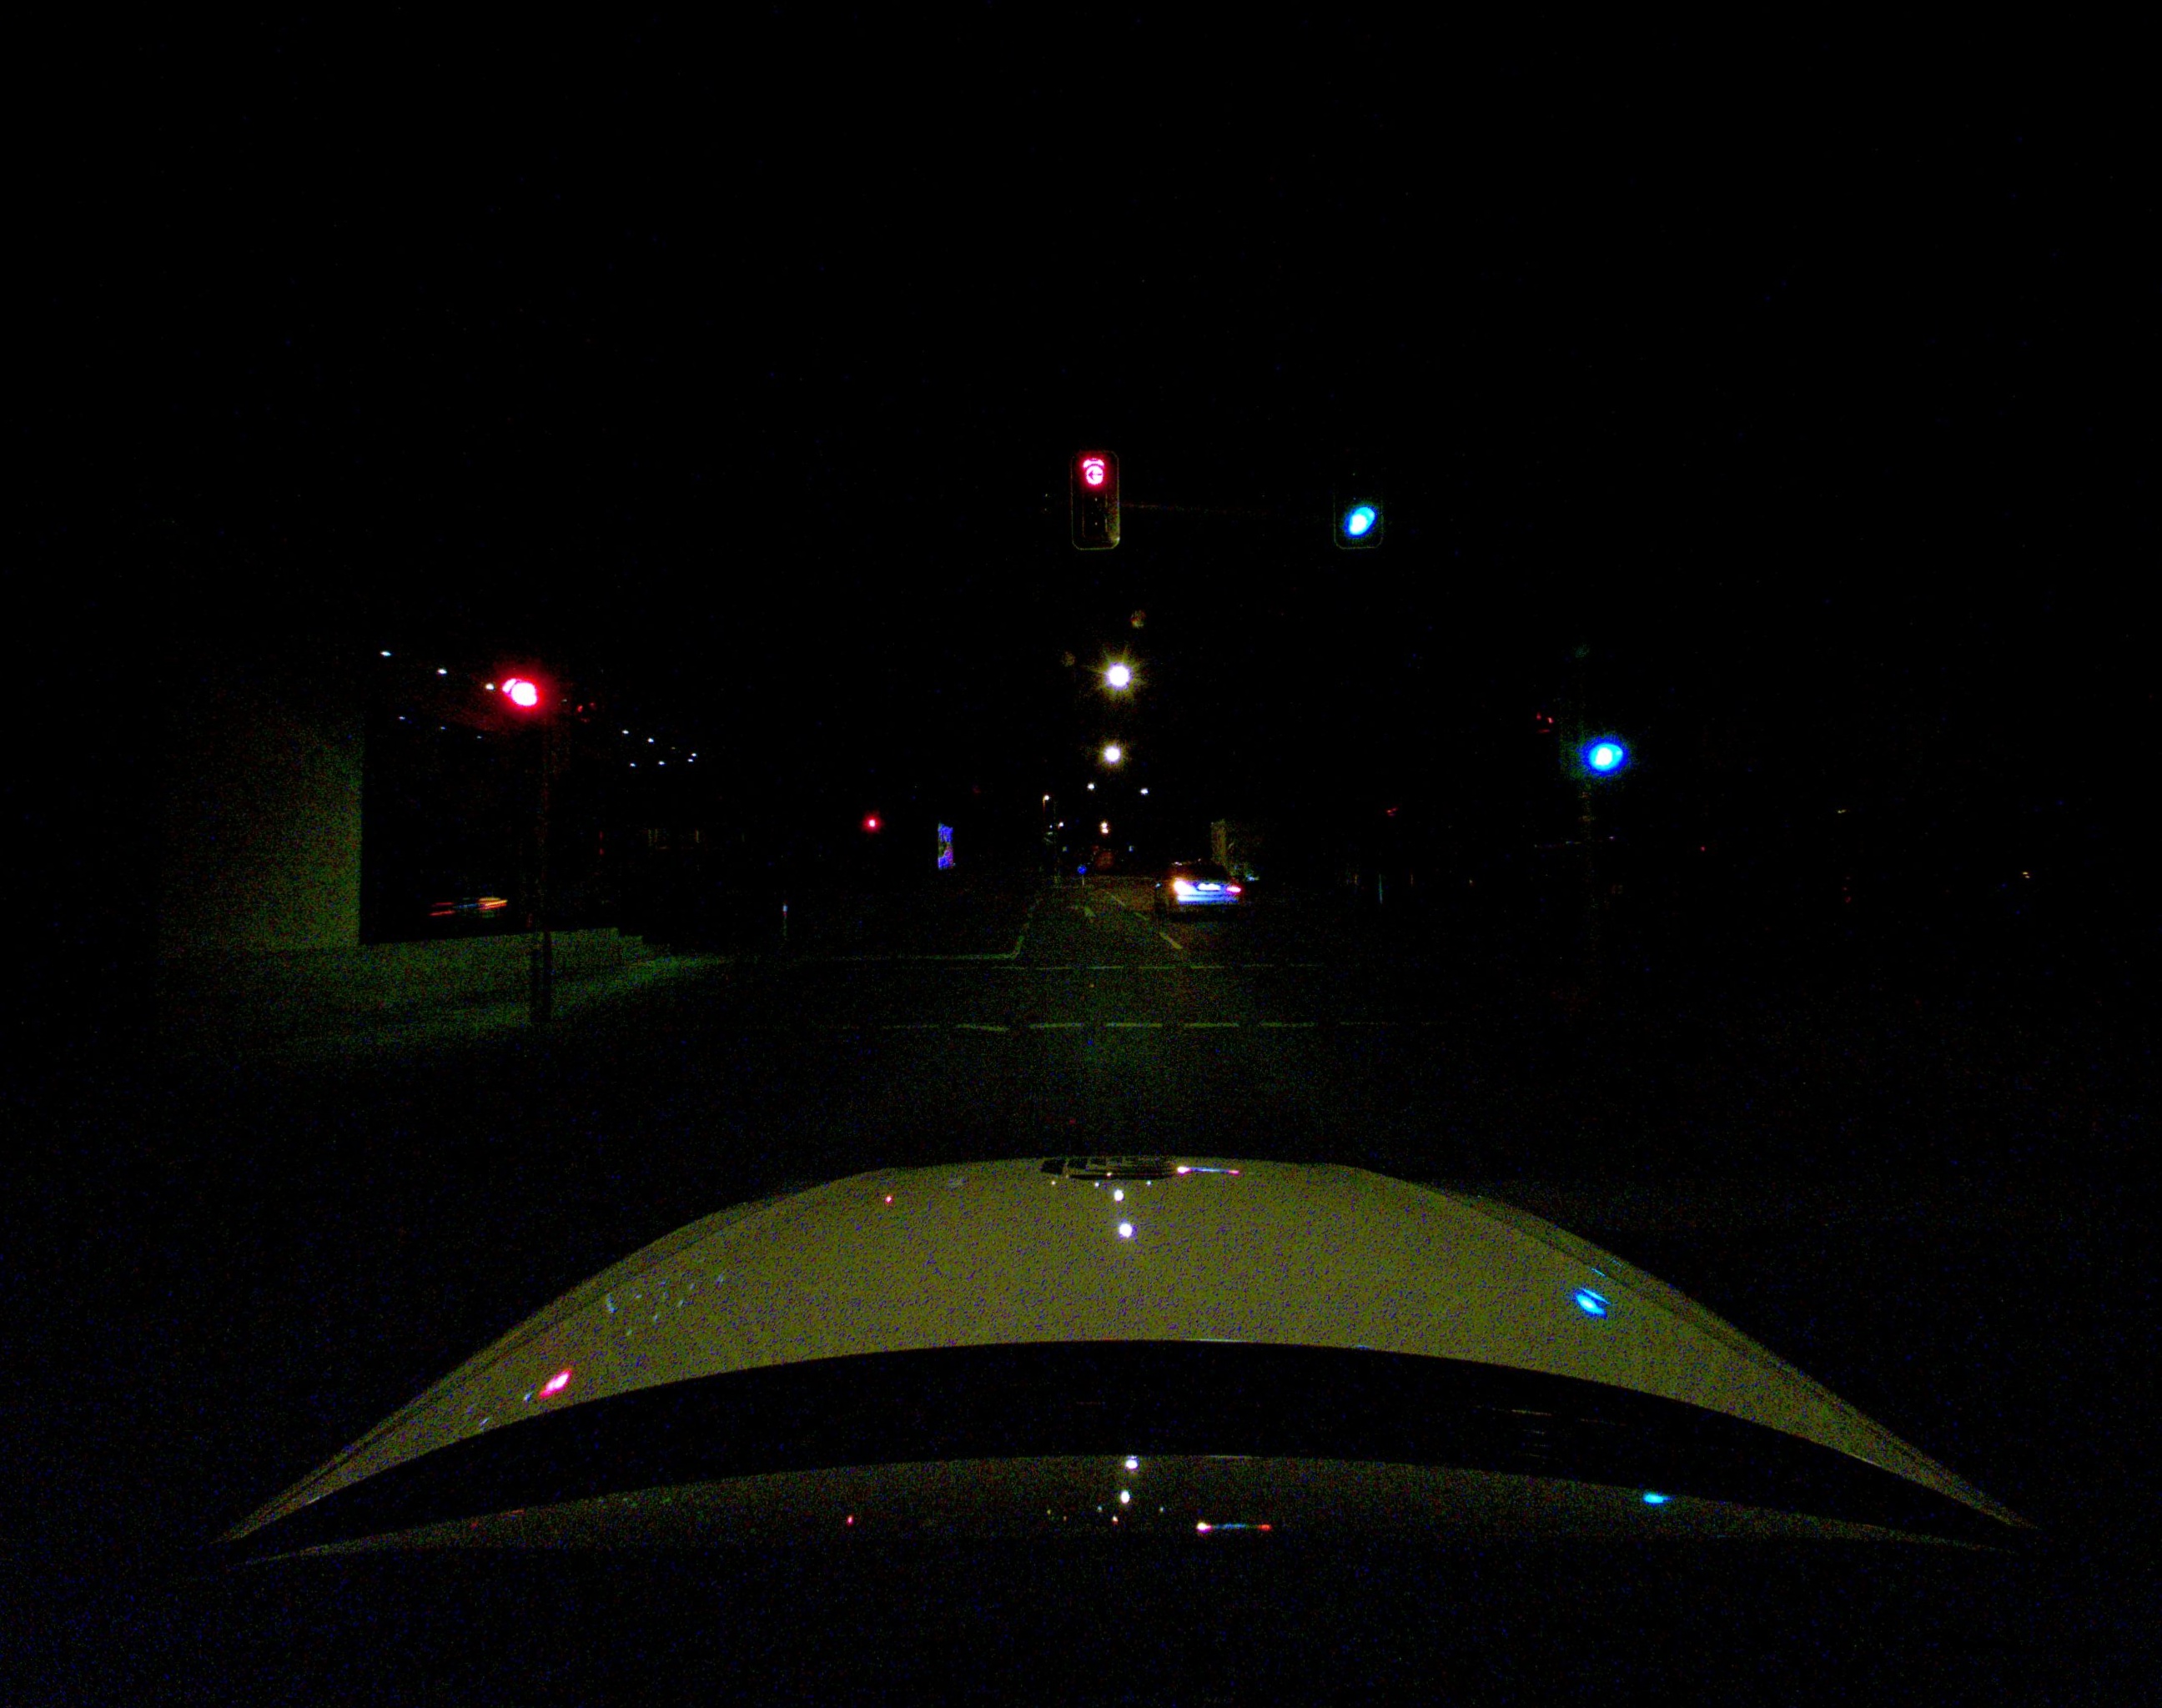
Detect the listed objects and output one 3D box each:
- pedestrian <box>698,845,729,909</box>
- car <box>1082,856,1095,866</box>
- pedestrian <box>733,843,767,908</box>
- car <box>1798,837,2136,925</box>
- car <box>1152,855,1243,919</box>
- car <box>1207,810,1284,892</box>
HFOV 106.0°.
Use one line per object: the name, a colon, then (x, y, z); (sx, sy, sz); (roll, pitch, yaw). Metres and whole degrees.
pedestrian: (-10.001, 0.621, 22.169); (0.568, 1.731, 0.544); (0, -1, 1)
car: (1.256, 1.163, 134.567); (1.901, 1.557, 3.906); (0, -1, 2)
pedestrian: (-9.202, 0.597, 22.659); (0.568, 1.778, 0.737); (1, -1, 1)
car: (17.459, 0.562, 16.285); (4.342, 1.560, 1.807); (-2, -3, 8)
car: (2.941, 0.796, 21.333); (1.770, 1.486, 3.999); (0, -1, 0)
car: (6.764, -0.099, 34.218); (2.287, 3.093, 5.845); (-2, -1, 3)
